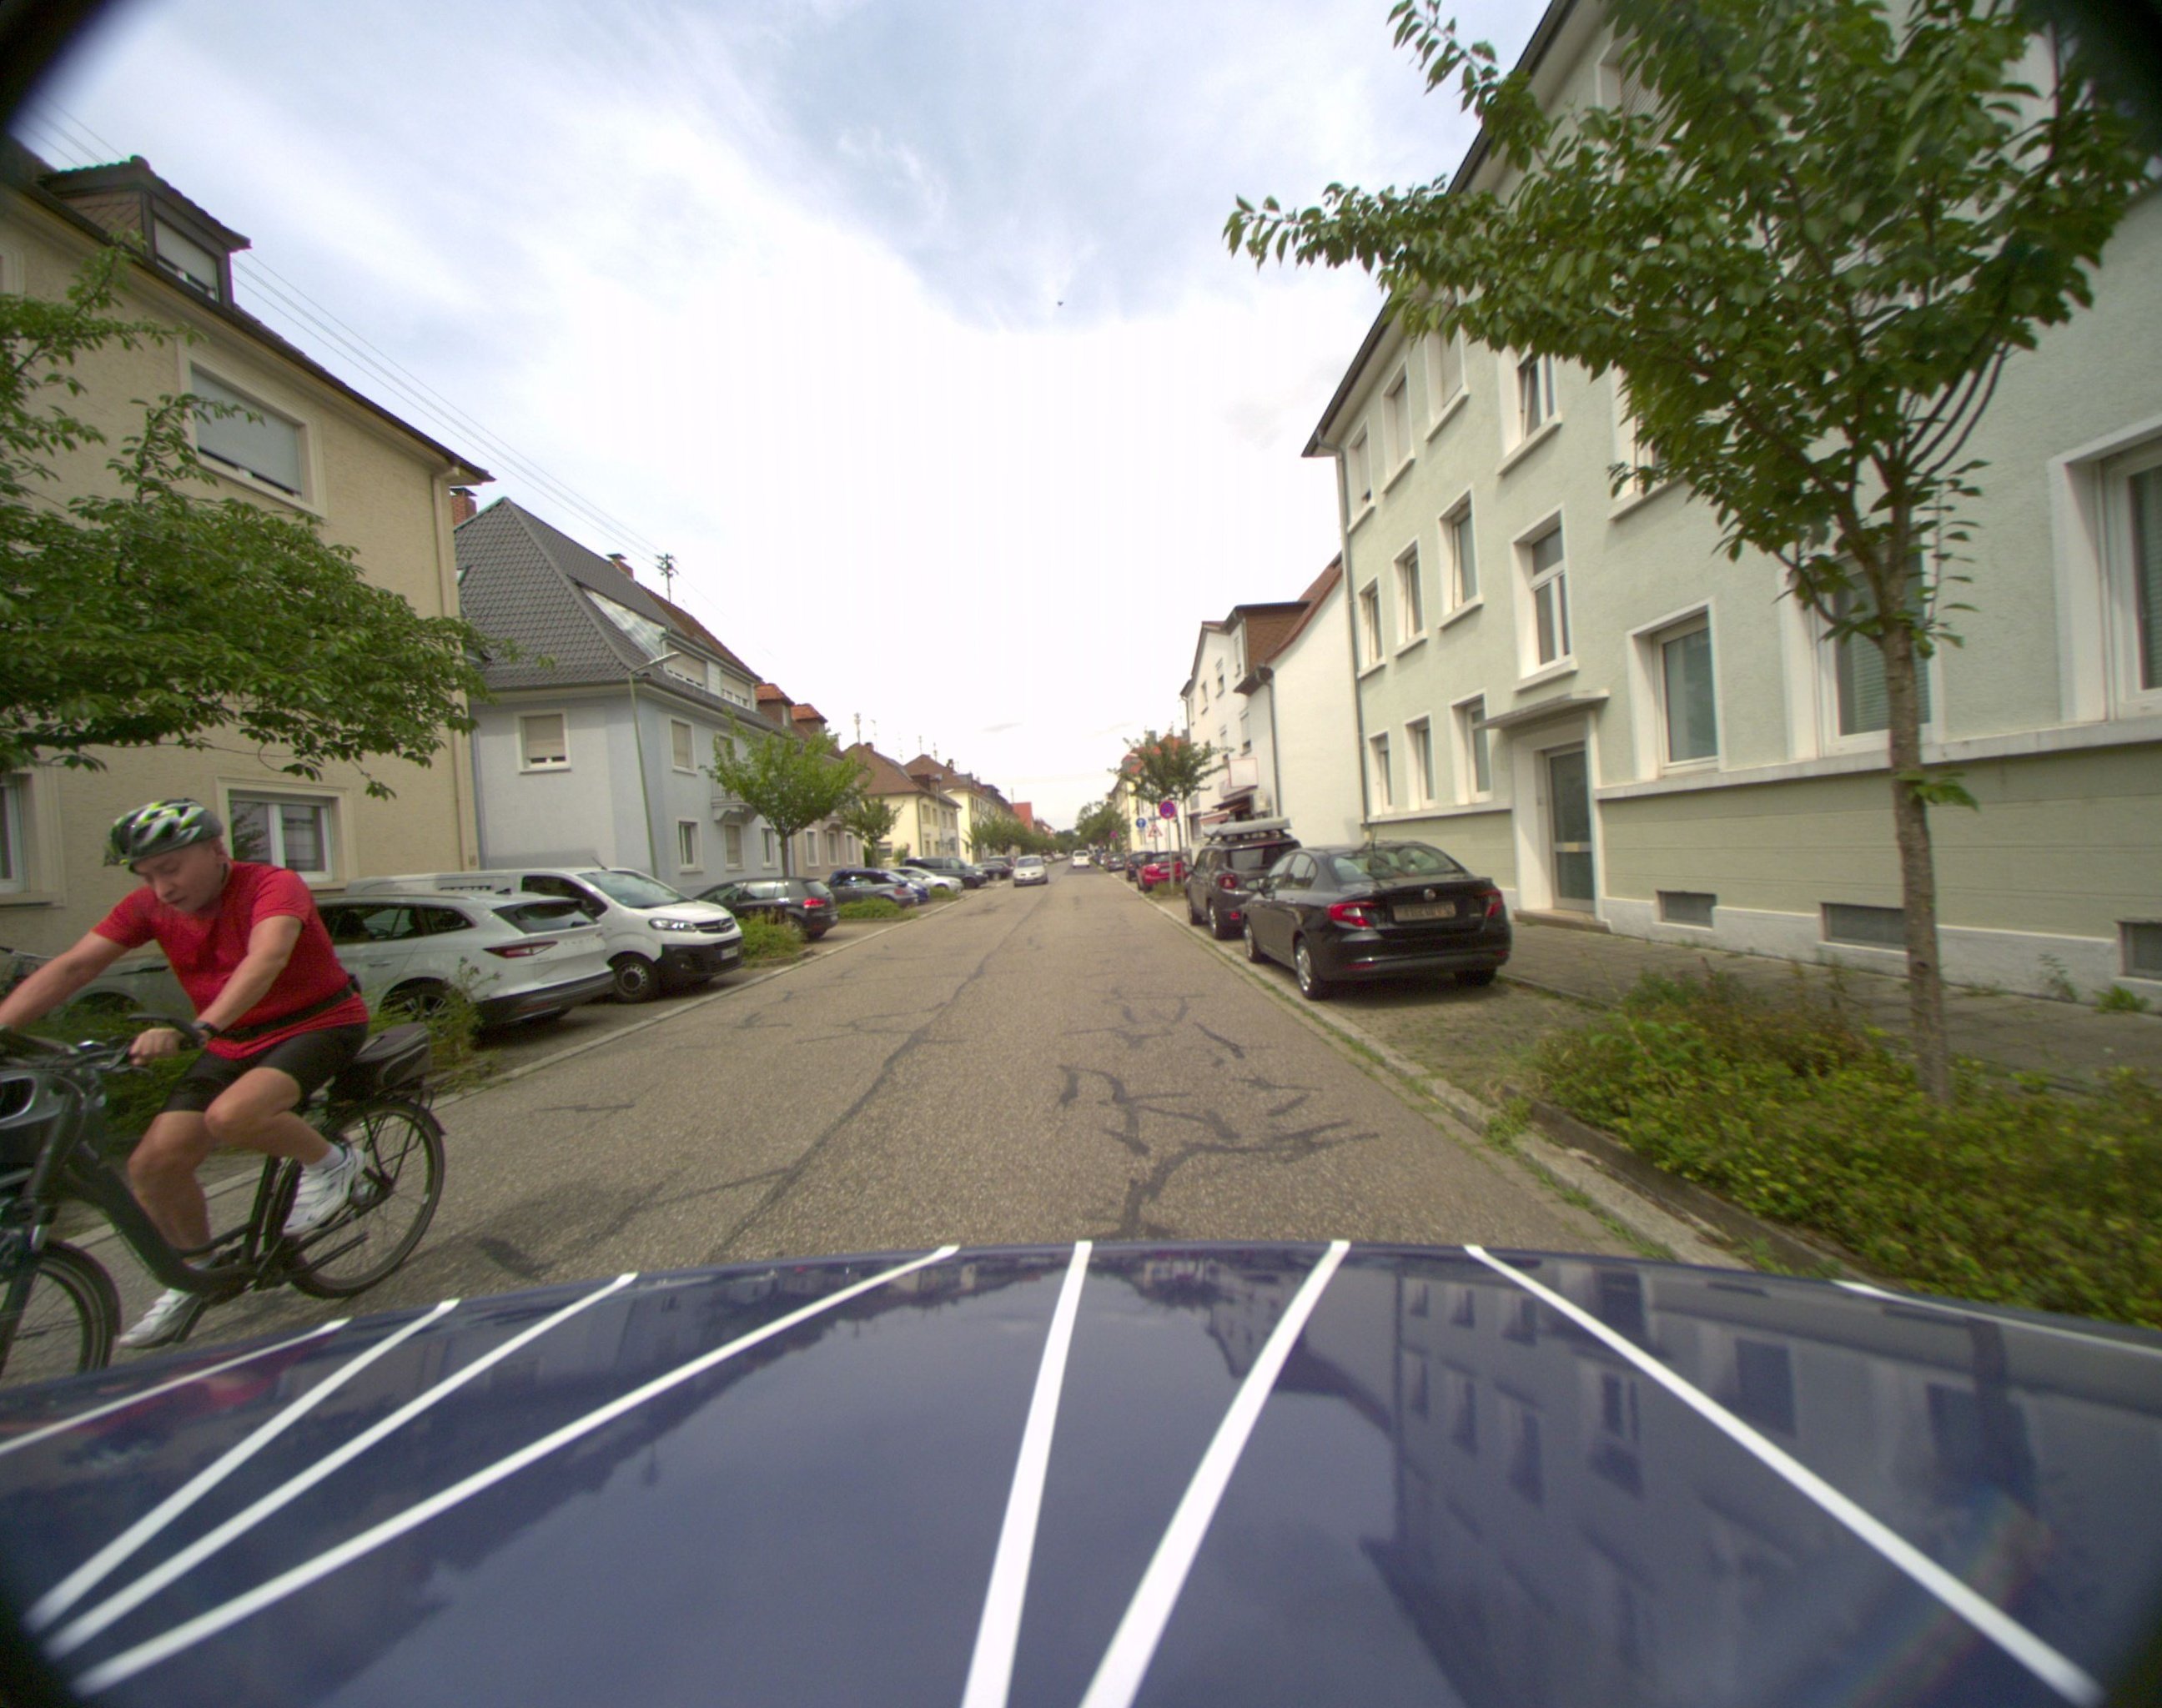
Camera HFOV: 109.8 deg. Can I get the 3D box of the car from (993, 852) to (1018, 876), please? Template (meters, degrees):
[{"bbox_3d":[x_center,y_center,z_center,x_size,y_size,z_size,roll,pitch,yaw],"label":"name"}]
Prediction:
[{"bbox_3d":[-6.223,0.779,63.166,1.646,1.817,3.443,-4,0,0],"label":"car"}]

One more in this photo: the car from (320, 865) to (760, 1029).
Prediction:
[{"bbox_3d":[-7.301,1.202,10.642,4.750,1.899,1.850,-2,1,0],"label":"car"}]

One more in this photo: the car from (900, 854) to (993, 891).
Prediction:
[{"bbox_3d":[-7.363,0.983,41.987,4.719,1.817,1.870,-2,1,0],"label":"car"}]

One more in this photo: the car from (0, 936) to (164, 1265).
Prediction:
[{"bbox_3d":[-7.669,1.364,3.593,4.318,1.589,1.850,-2,1,0],"label":"car"}]

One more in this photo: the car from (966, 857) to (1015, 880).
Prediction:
[{"bbox_3d":[-6.754,1.081,56.972,3.441,1.438,1.646,-4,1,-3],"label":"car"}]

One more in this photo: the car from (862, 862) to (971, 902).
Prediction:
[{"bbox_3d":[-7.255,1.233,33.836,4.403,1.528,1.870,-2,1,0],"label":"car"}]

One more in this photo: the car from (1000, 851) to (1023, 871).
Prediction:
[{"bbox_3d":[-6.378,0.630,70.139,1.646,1.666,3.443,-4,0,0],"label":"car"}]

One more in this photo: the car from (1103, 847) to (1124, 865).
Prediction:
[{"bbox_3d":[3.018,0.158,70.944,1.711,1.495,3.443,-2,1,0],"label":"car"}]

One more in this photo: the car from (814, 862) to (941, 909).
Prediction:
[{"bbox_3d":[-7.917,1.216,29.801,4.401,1.603,1.871,-2,1,5],"label":"car"}]

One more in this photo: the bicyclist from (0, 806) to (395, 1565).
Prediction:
[{"bbox_3d":[-2.887,0.783,2.222,0.694,1.760,0.986,-5,1,0],"label":"bicyclist"}]

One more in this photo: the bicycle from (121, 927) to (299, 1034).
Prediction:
[{"bbox_3d":[-11.619,1.645,10.222,0.480,1.133,1.635,-2,1,-2],"label":"bicycle"}]

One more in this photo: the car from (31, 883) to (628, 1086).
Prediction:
[{"bbox_3d":[-7.452,1.233,7.901,4.318,1.673,1.851,-2,-1,0],"label":"car"}]

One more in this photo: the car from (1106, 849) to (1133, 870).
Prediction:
[{"bbox_3d":[2.865,0.371,57.356,1.711,1.439,3.442,-2,1,-2],"label":"car"}]

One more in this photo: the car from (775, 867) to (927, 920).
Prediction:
[{"bbox_3d":[-7.458,1.274,24.956,4.404,1.491,1.710,-2,1,-1],"label":"car"}]

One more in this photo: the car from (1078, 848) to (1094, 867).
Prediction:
[{"bbox_3d":[0.568,0.380,85.541,1.757,2.098,3.620,-2,1,0],"label":"car"}]

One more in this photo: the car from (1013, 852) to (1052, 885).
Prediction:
[{"bbox_3d":[-2.642,0.757,42.077,1.788,1.595,4.835,-4,1,0],"label":"car"}]

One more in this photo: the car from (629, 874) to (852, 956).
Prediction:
[{"bbox_3d":[-7.418,1.304,16.861,4.119,1.528,1.710,-2,1,-1],"label":"car"}]

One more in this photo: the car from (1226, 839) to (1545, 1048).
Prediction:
[{"bbox_3d":[2.920,0.715,8.388,1.706,1.533,4.248,-7,1,1],"label":"car"}]

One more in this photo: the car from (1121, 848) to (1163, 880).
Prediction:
[{"bbox_3d":[3.070,0.489,38.741,1.711,1.477,3.442,-2,1,-2],"label":"car"}]

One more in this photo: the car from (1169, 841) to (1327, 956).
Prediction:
[{"bbox_3d":[2.883,0.679,14.115,1.697,1.573,4.248,-9,1,-1],"label":"car"}]

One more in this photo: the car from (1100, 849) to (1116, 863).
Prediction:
[{"bbox_3d":[3.047,0.197,85.650,1.711,1.495,3.443,-2,1,0],"label":"car"}]

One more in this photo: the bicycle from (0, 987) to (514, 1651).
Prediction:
[{"bbox_3d":[-2.846,1.218,2.304,0.693,1.221,1.936,-5,1,0],"label":"bicycle"}]

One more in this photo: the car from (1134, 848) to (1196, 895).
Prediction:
[{"bbox_3d":[3.071,0.588,28.628,1.711,1.591,4.115,-2,1,-2],"label":"car"}]

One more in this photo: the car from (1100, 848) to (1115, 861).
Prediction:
[{"bbox_3d":[3.252,0.101,93.489,1.625,1.495,3.443,-2,1,0],"label":"car"}]
